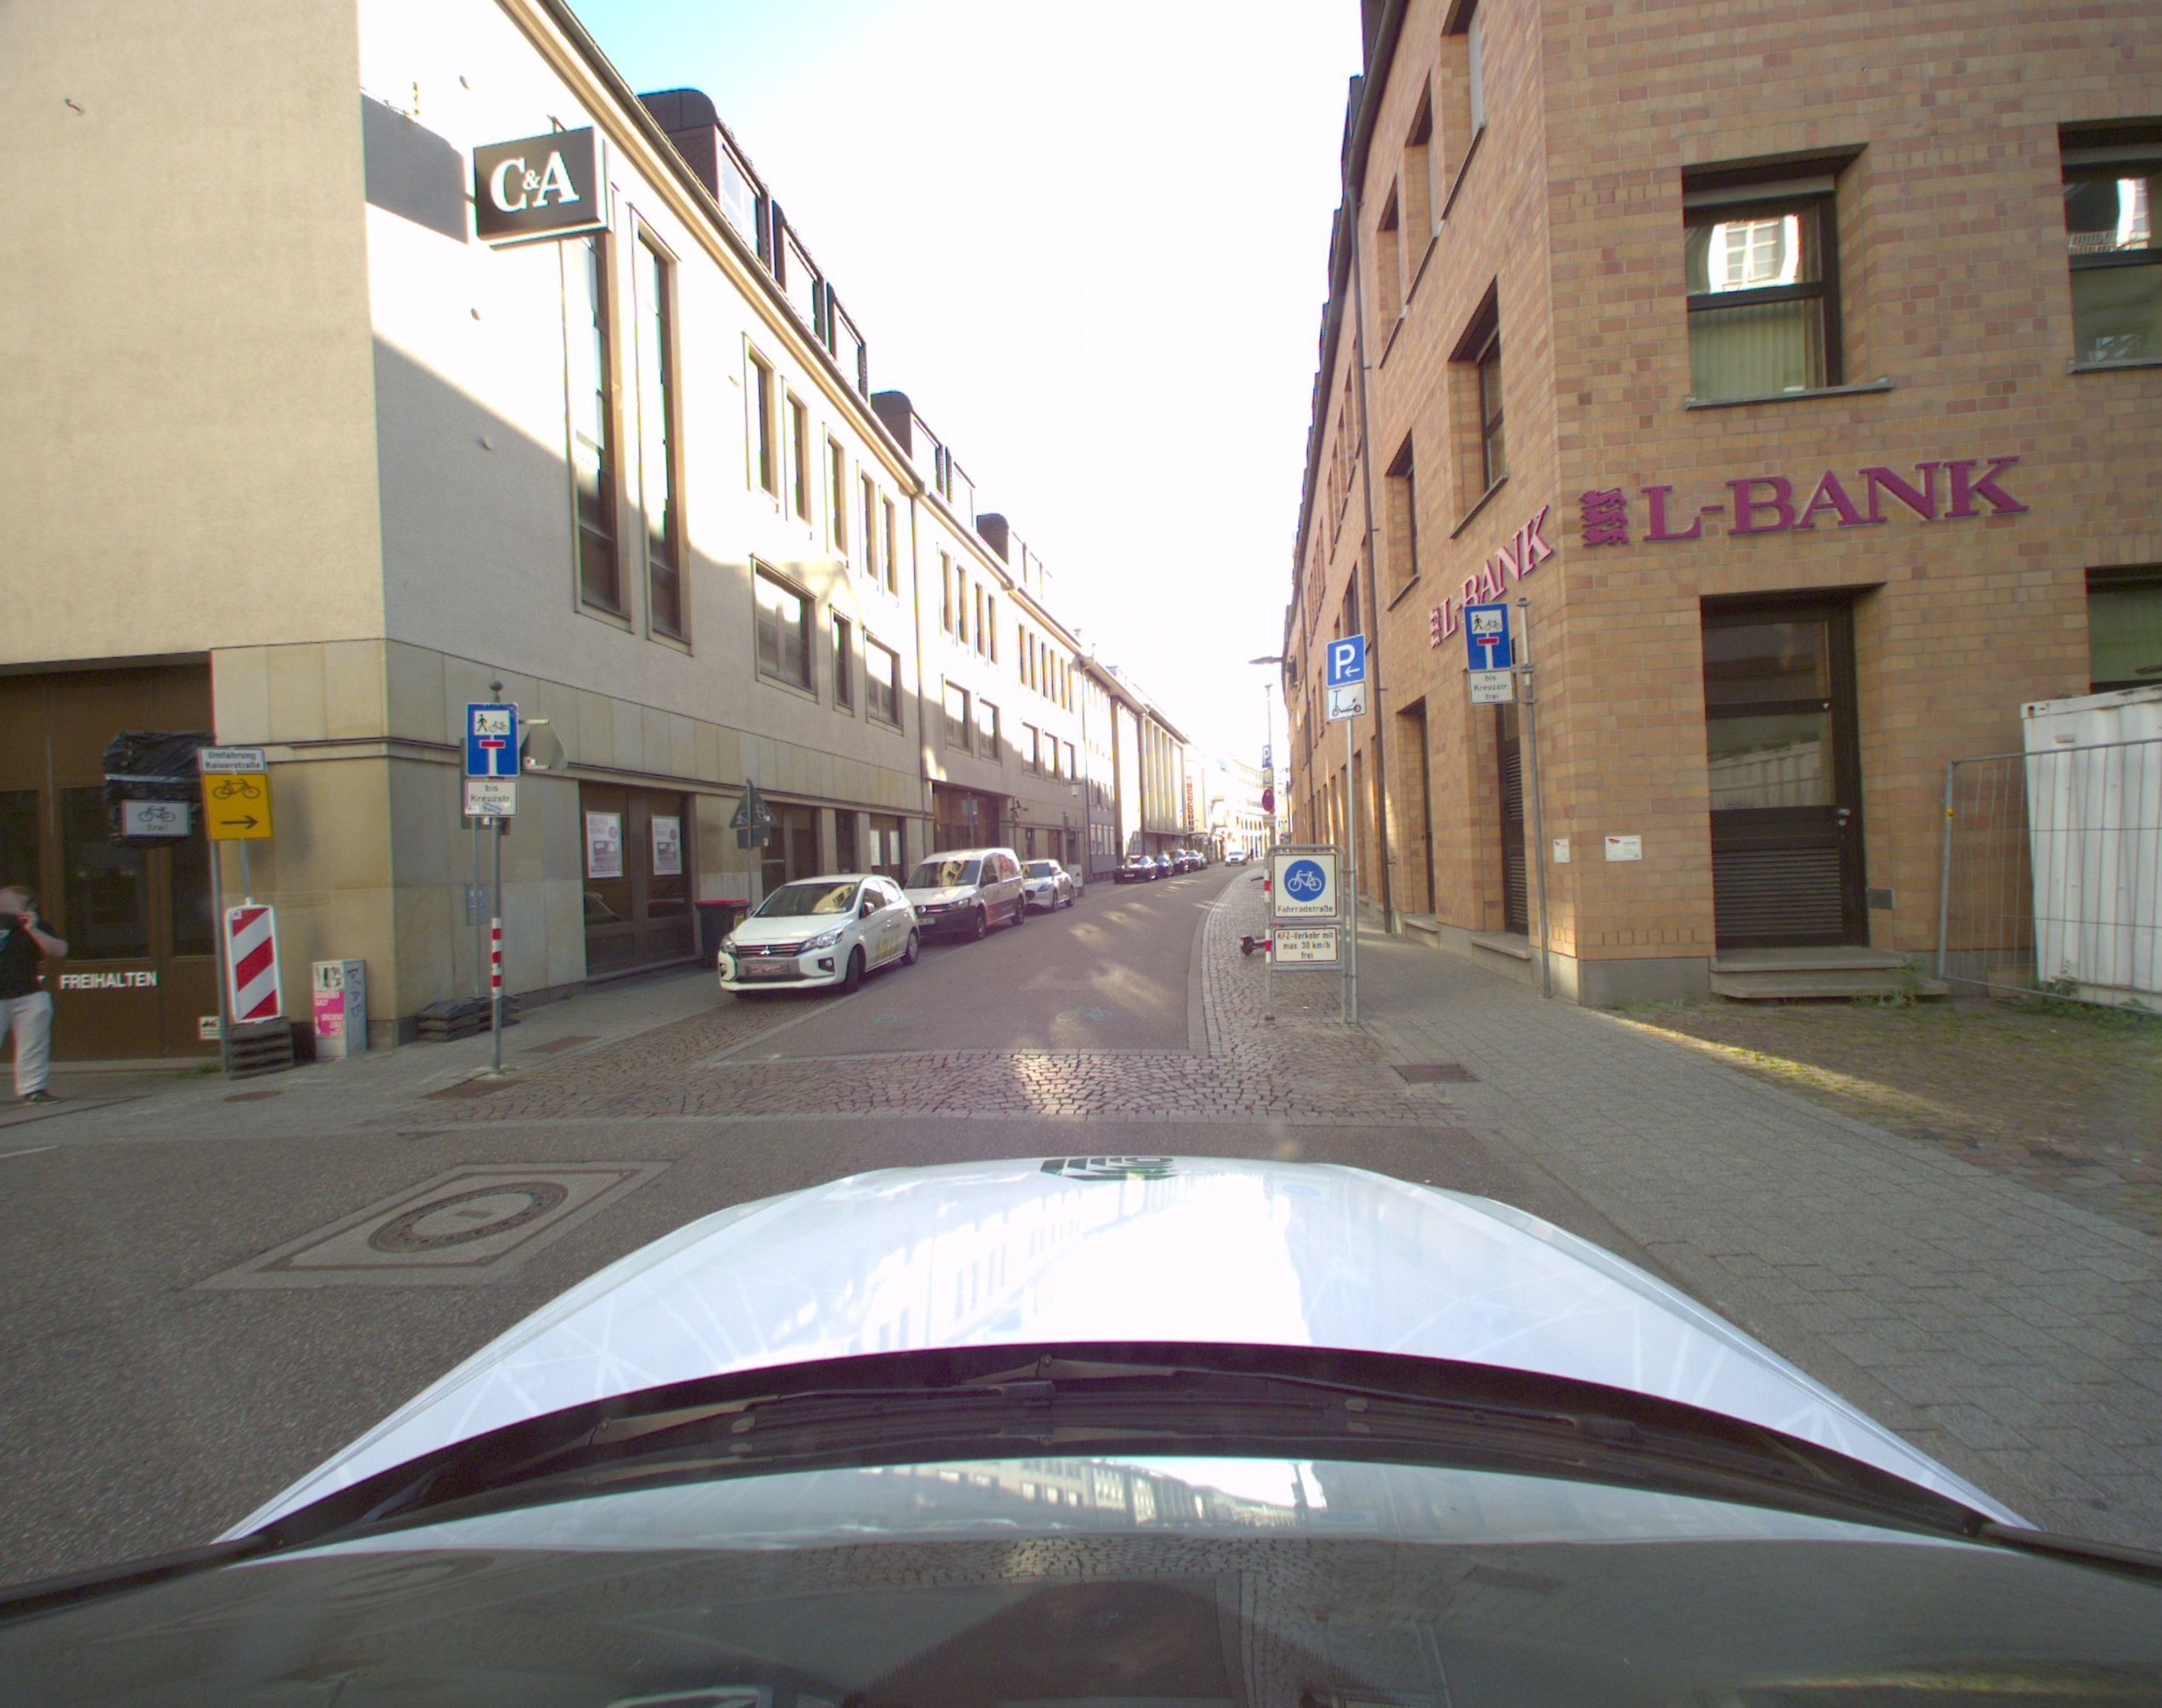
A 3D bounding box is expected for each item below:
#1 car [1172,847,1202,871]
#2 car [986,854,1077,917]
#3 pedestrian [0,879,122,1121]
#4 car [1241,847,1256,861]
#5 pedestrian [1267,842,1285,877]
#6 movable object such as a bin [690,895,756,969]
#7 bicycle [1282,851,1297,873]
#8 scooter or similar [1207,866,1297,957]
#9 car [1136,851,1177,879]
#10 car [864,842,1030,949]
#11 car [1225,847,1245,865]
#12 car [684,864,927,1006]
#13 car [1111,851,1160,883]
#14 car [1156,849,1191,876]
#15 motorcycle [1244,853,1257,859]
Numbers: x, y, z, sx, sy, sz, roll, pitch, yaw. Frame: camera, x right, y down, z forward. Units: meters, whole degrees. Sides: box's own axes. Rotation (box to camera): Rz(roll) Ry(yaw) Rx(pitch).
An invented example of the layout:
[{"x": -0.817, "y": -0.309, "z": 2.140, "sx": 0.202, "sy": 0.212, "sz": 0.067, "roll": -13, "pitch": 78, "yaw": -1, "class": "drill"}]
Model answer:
[{"x": 8.256, "y": 0.376, "z": 63.260, "sx": 1.877, "sy": 1.742, "sz": 4.405, "roll": -3, "pitch": 0, "yaw": 12, "class": "car"}, {"x": -1.329, "y": 0.845, "z": 23.555, "sx": 1.659, "sy": 1.522, "sz": 3.786, "roll": -5, "pitch": 0, "yaw": 10, "class": "car"}, {"x": -8.705, "y": 1.160, "z": 6.628, "sx": 0.858, "sy": 1.854, "sz": 0.714, "roll": -4, "pitch": -2, "yaw": -7, "class": "pedestrian"}, {"x": 20.598, "y": 0.007, "z": 99.997, "sx": 1.628, "sy": 1.517, "sz": 4.176, "roll": -3, "pitch": 0, "yaw": 14, "class": "car"}, {"x": 9.779, "y": 0.275, "z": 40.882, "sx": 0.755, "sy": 1.716, "sz": 0.824, "roll": -4, "pitch": -1, "yaw": 12, "class": "pedestrian"}, {"x": -5.591, "y": 1.204, "z": 12.747, "sx": 0.733, "sy": 1.101, "sz": 0.592, "roll": 0, "pitch": -1, "yaw": 6, "class": "movable object such as a bin"}, {"x": 11.294, "y": 0.406, "z": 44.117, "sx": 0.546, "sy": 1.103, "sz": 1.988, "roll": -6, "pitch": -1, "yaw": 10, "class": "bicycle"}, {"x": 2.581, "y": 0.823, "z": 12.211, "sx": 1.426, "sy": 1.235, "sz": 0.532, "roll": -2, "pitch": 1, "yaw": -41, "class": "scooter or similar"}, {"x": 4.695, "y": 0.654, "z": 50.127, "sx": 1.877, "sy": 1.530, "sz": 4.354, "roll": -3, "pitch": 0, "yaw": 12, "class": "car"}, {"x": -2.630, "y": 0.752, "z": 17.370, "sx": 1.887, "sy": 1.857, "sz": 4.747, "roll": -4, "pitch": 0, "yaw": 10, "class": "car"}, {"x": 14.419, "y": 0.171, "z": 76.214, "sx": 1.703, "sy": 1.517, "sz": 4.174, "roll": -3, "pitch": 0, "yaw": 12, "class": "car"}, {"x": -3.594, "y": 0.982, "z": 11.429, "sx": 1.729, "sy": 1.492, "sz": 3.805, "roll": -4, "pitch": 0, "yaw": 5, "class": "car"}, {"x": 2.991, "y": 0.649, "z": 44.046, "sx": 1.877, "sy": 1.530, "sz": 4.745, "roll": -3, "pitch": 0, "yaw": 12, "class": "car"}, {"x": 6.374, "y": 0.536, "z": 55.855, "sx": 1.877, "sy": 1.675, "sz": 4.569, "roll": -3, "pitch": 0, "yaw": 12, "class": "car"}, {"x": 23.796, "y": 0.248, "z": 114.104, "sx": 1.677, "sy": 0.859, "sz": 0.597, "roll": -1, "pitch": -1, "yaw": 20, "class": "motorcycle"}]
